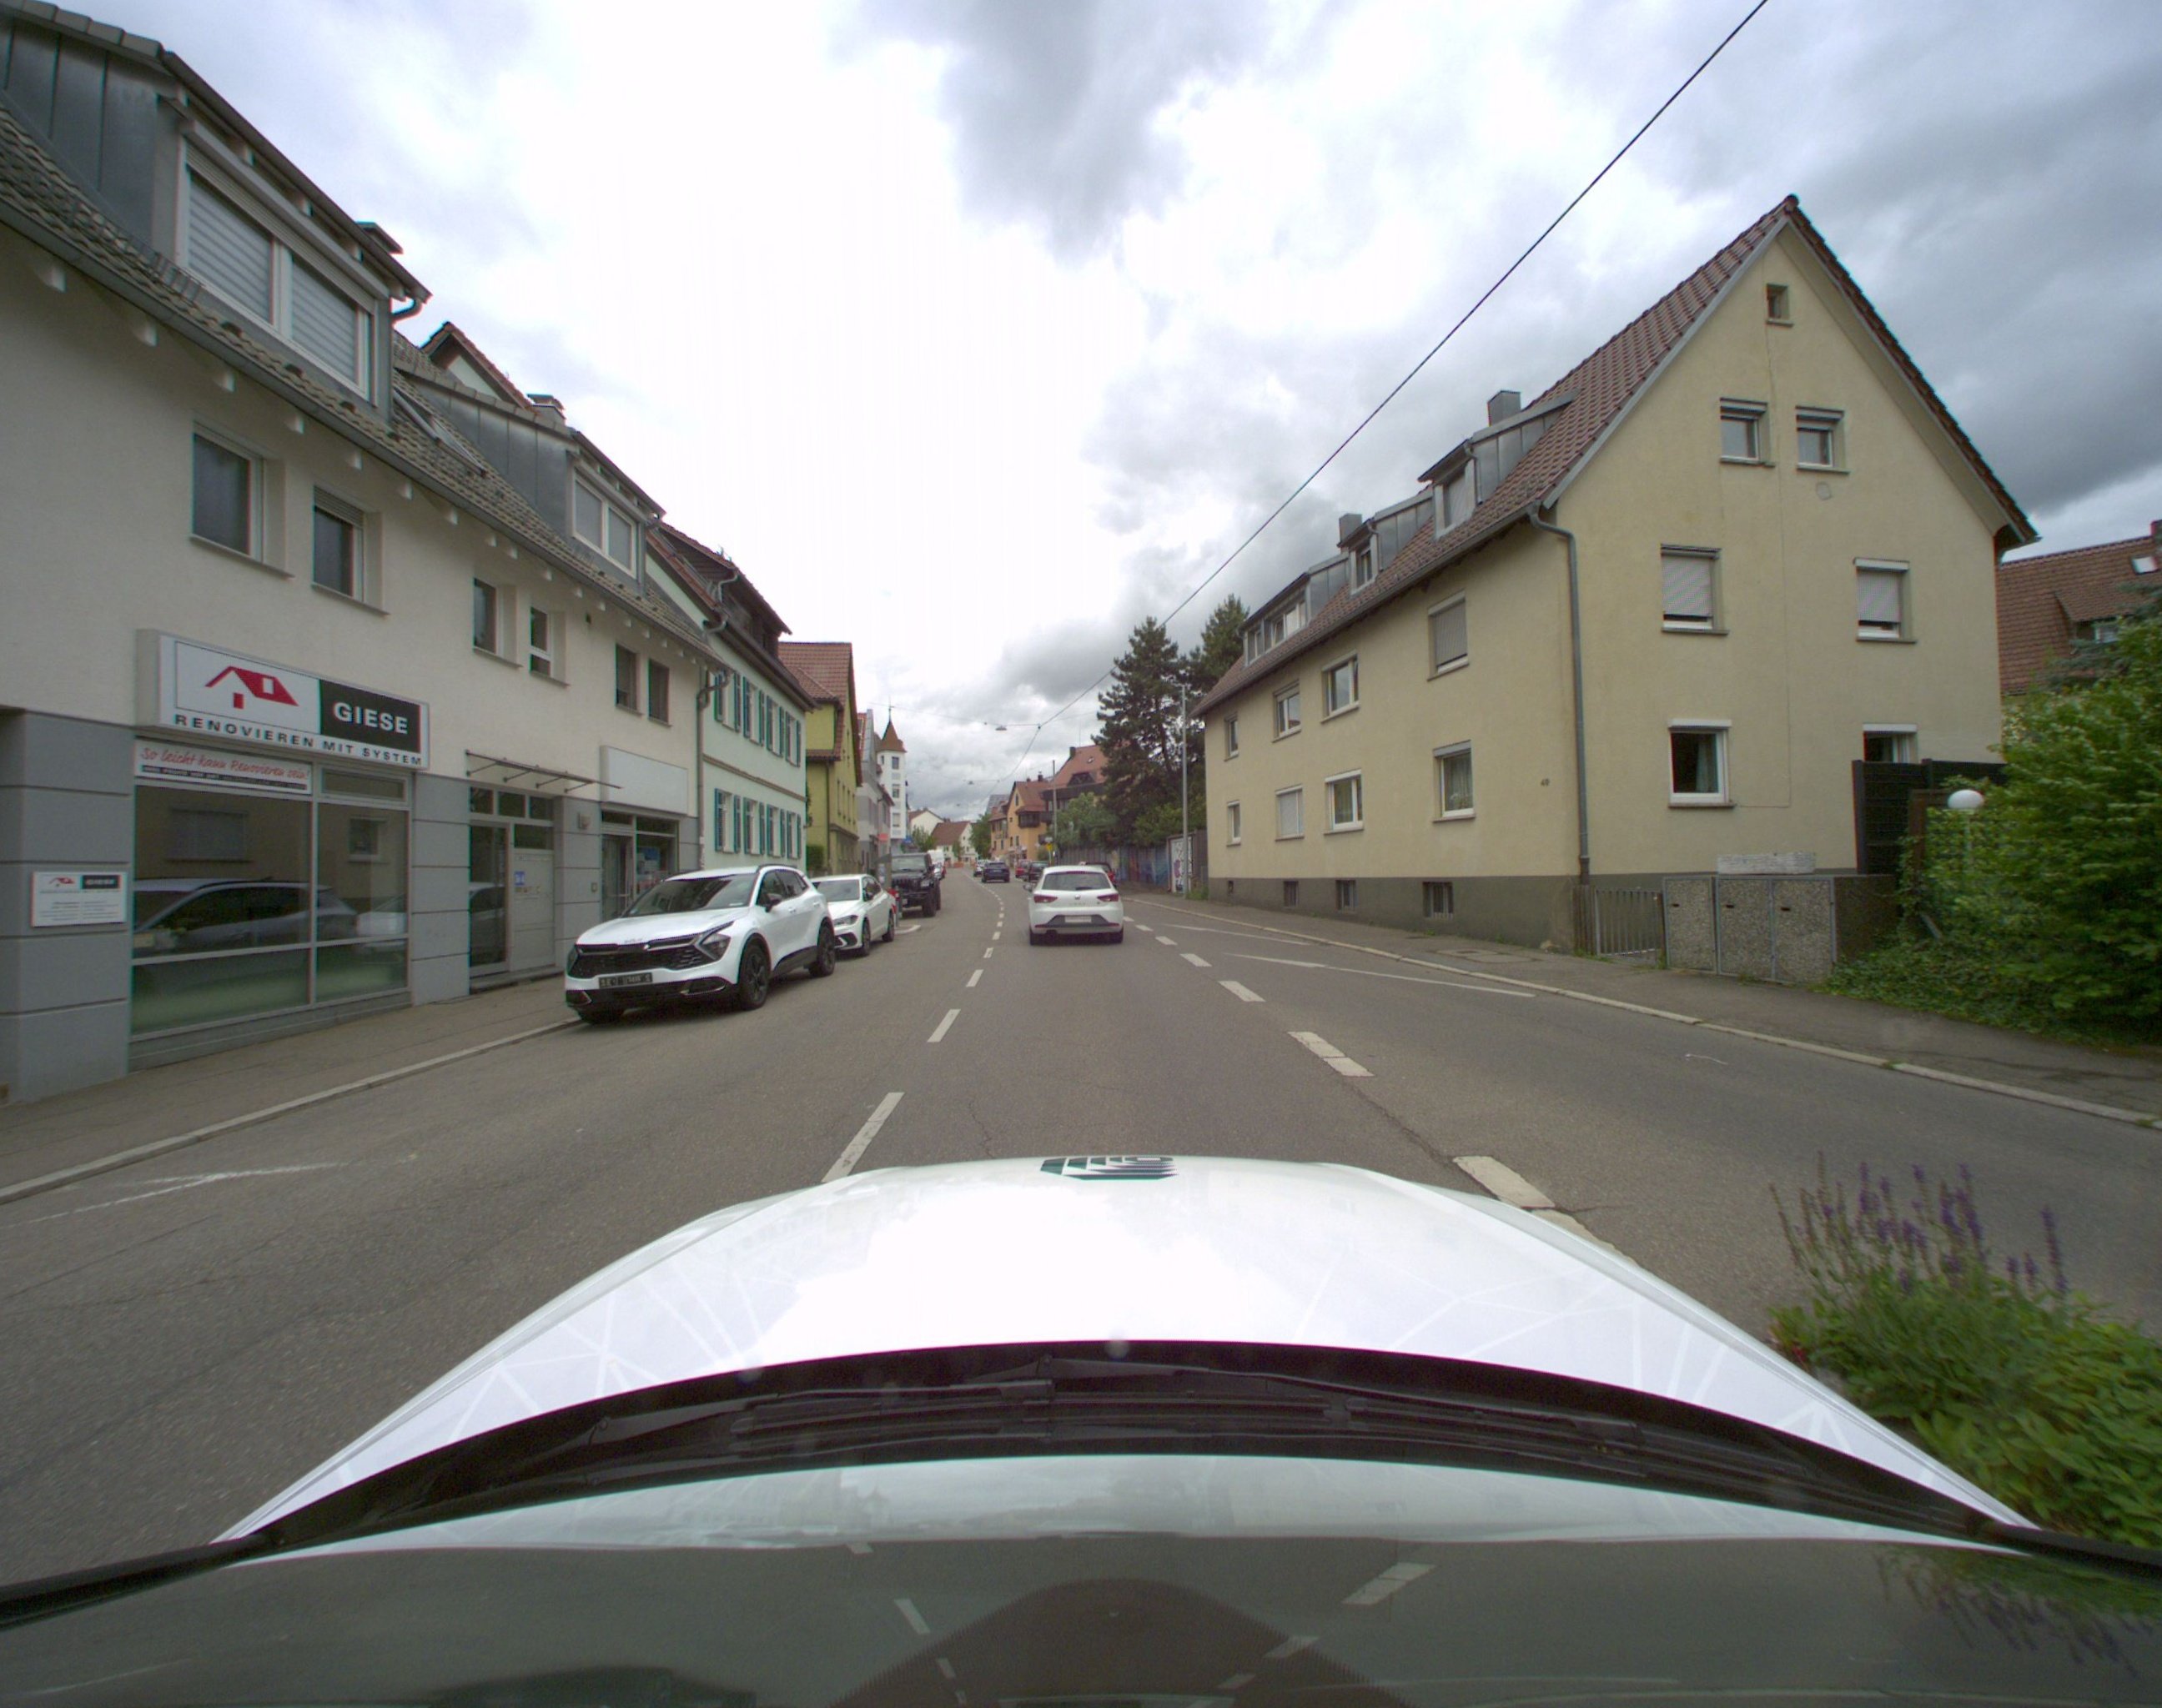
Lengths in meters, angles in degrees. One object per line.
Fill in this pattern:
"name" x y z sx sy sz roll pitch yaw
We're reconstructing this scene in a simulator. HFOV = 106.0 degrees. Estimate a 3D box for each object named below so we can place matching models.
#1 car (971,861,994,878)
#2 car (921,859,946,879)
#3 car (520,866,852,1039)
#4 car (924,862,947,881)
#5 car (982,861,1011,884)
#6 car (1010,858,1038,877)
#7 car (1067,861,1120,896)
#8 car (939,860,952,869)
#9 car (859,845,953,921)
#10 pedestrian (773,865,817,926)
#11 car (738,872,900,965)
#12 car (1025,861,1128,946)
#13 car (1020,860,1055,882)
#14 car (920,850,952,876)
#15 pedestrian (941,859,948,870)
"car" -8.592 1.342 70.972 1.759 1.452 3.985 -1 0 -11
"car" -11.973 1.224 66.246 1.799 1.479 4.037 -4 0 -10
"car" -4.600 1.009 10.524 1.992 1.633 4.855 -1 0 -1
"car" -12.835 1.527 71.985 1.799 1.479 4.037 -4 0 -10
"car" -5.704 1.203 54.539 1.758 1.452 3.988 -1 0 -9
"car" -4.660 1.070 66.133 1.760 1.452 3.983 -1 0 -12
"car" 0.501 1.066 36.120 1.757 1.452 3.988 1 -1 -8
"car" -25.398 1.970 152.789 1.788 1.701 4.001 -1 0 1
"car" -5.290 0.814 25.256 1.989 2.013 4.666 -4 0 -3
"pedestrian" -7.290 1.047 20.821 0.804 1.500 0.974 1 -1 -4
"car" -4.756 1.107 15.417 1.994 1.436 3.913 -1 0 -3
"car" -0.204 0.890 16.314 1.755 1.452 3.993 -1 0 -5
"car" -3.027 1.142 55.487 1.760 1.452 3.983 -1 0 -12
"car" -15.677 0.963 88.446 2.143 2.687 5.549 0 0 3
"pedestrian" -24.302 1.871 144.944 1.228 2.014 1.172 -1 0 -9
